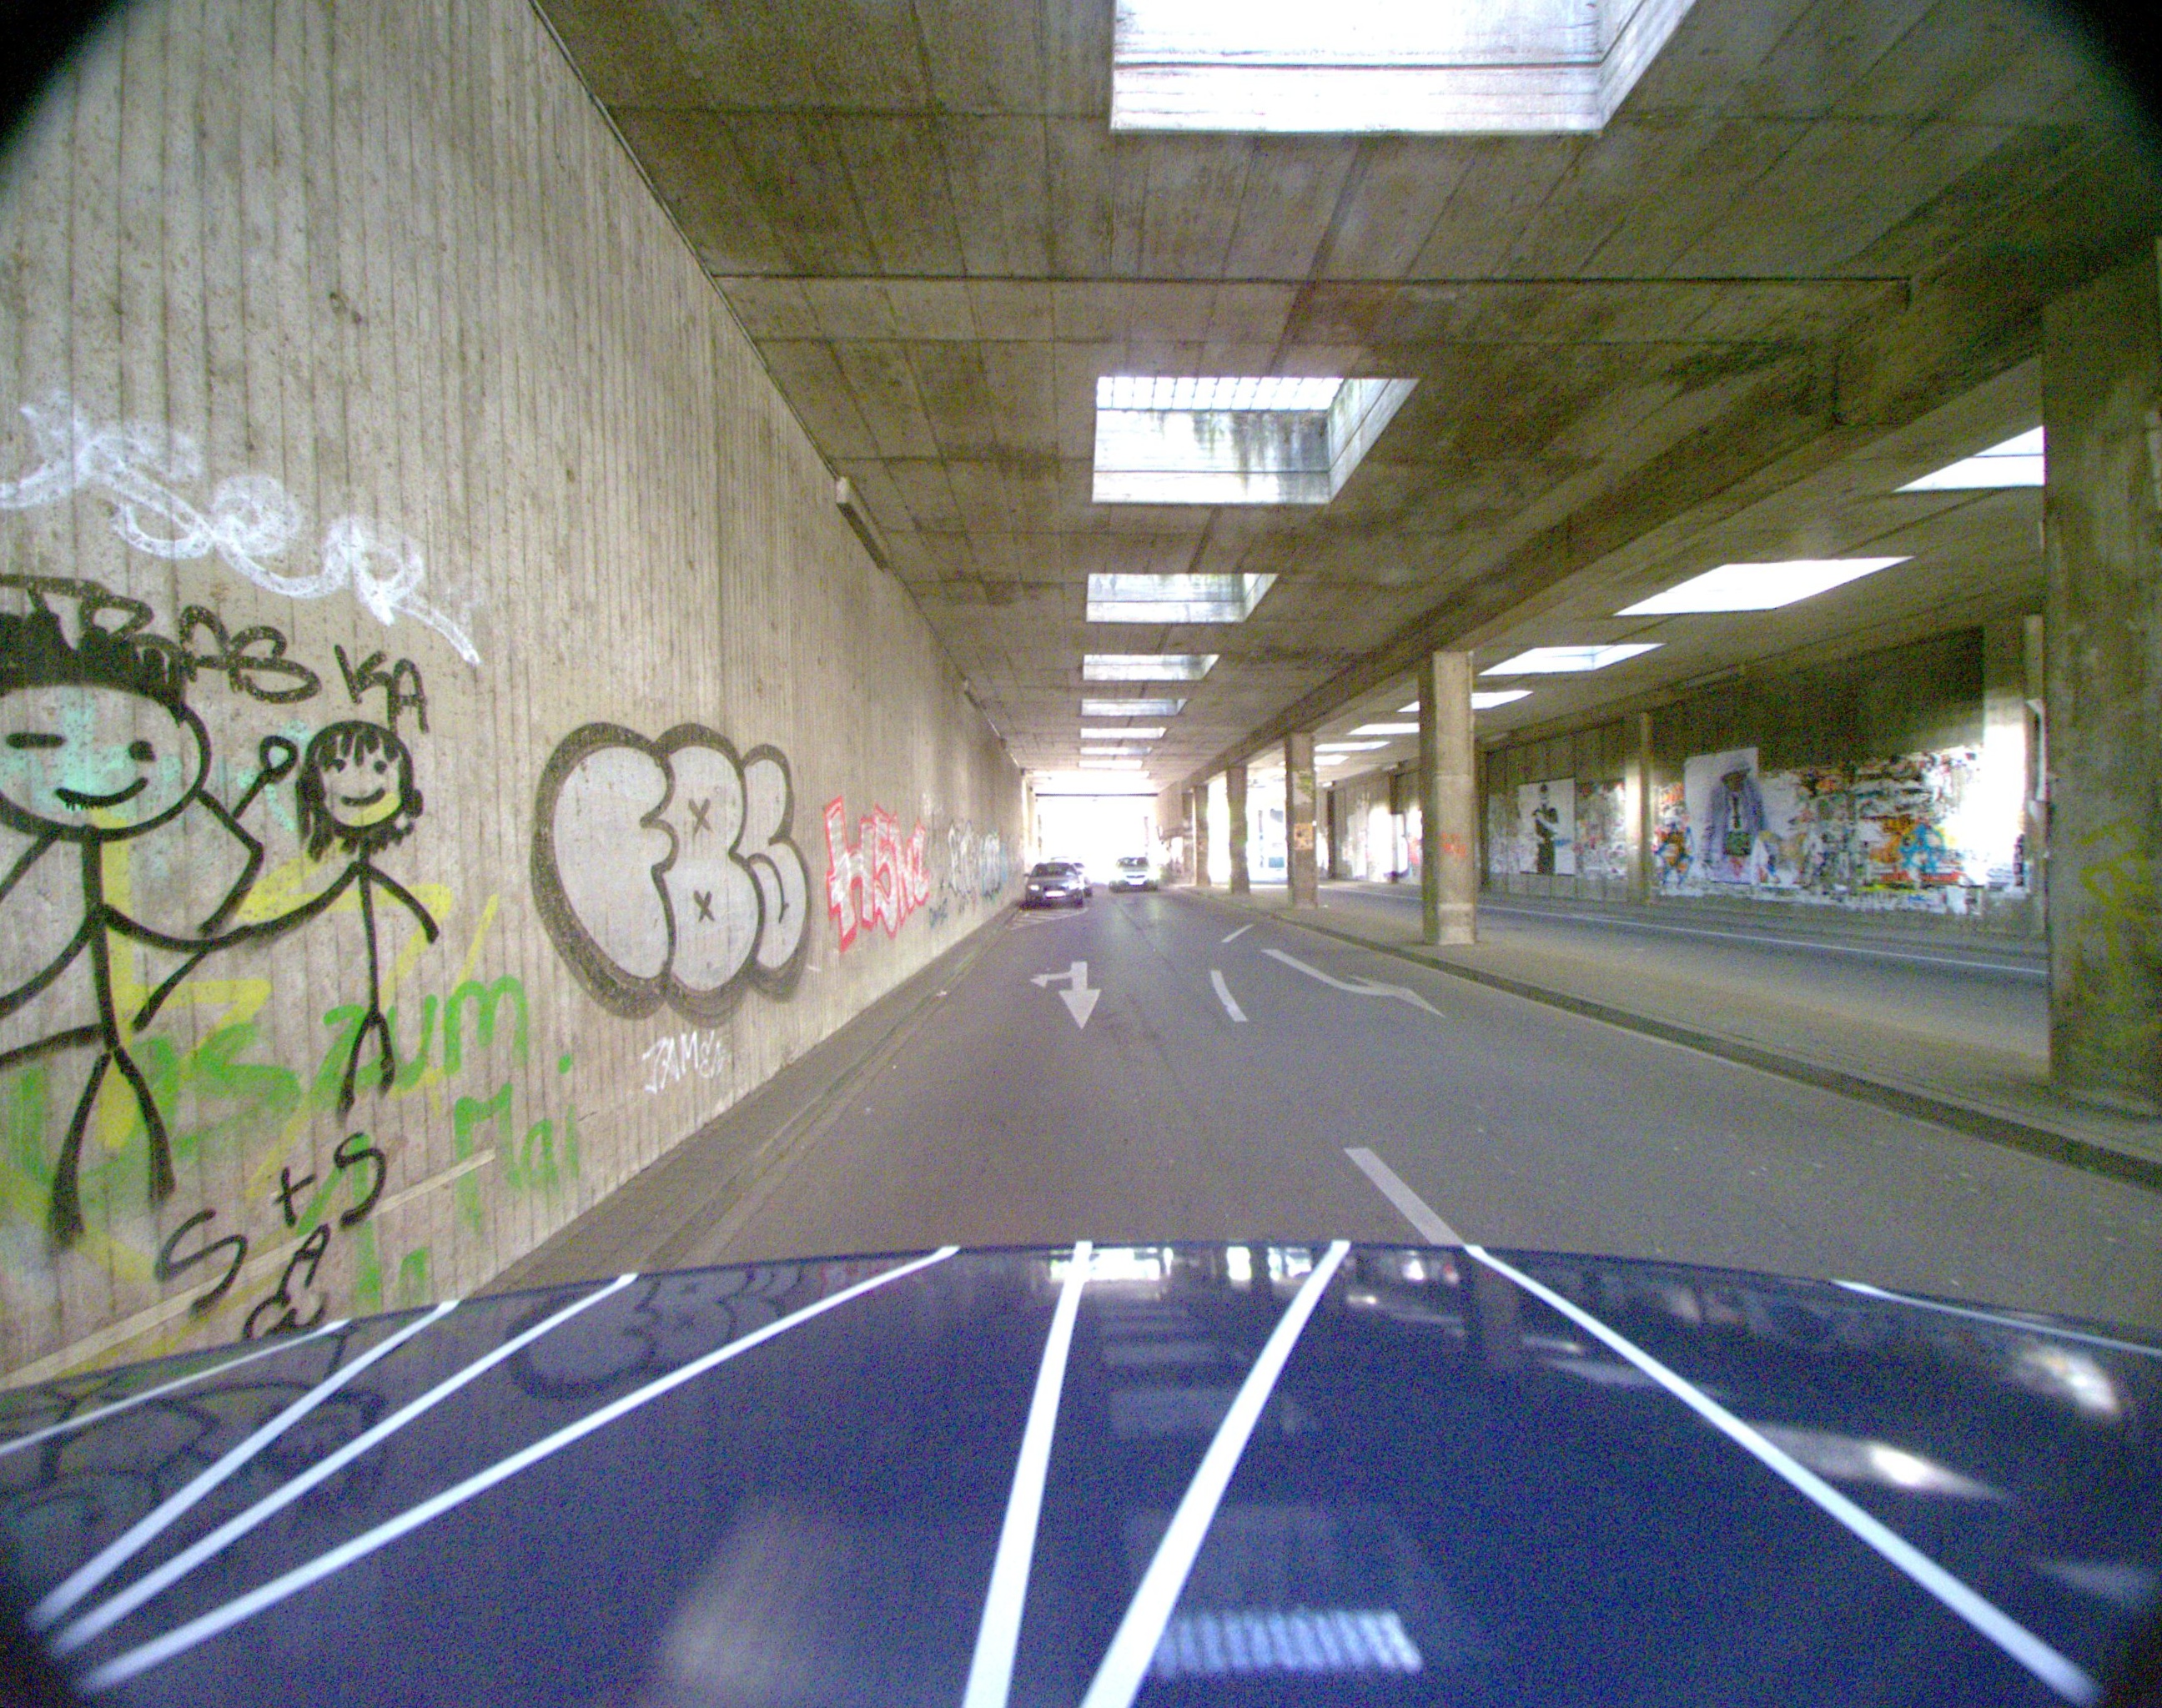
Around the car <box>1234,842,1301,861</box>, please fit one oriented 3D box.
[{"bbox_3d":[19.385,-0.299,79.247,6.534,1.740,2.000,-2,1,4],"label":"car"}]

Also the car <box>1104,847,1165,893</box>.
[{"bbox_3d":[2.164,0.605,32.184,1.999,1.740,4.858,-2,1,-2],"label":"car"}]

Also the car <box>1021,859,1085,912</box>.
[{"bbox_3d":[-0.789,0.919,23.971,1.767,1.407,3.999,-2,1,1],"label":"car"}]

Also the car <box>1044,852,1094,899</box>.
[{"bbox_3d":[-0.515,0.768,29.875,1.767,1.634,3.999,-2,1,-2],"label":"car"}]
